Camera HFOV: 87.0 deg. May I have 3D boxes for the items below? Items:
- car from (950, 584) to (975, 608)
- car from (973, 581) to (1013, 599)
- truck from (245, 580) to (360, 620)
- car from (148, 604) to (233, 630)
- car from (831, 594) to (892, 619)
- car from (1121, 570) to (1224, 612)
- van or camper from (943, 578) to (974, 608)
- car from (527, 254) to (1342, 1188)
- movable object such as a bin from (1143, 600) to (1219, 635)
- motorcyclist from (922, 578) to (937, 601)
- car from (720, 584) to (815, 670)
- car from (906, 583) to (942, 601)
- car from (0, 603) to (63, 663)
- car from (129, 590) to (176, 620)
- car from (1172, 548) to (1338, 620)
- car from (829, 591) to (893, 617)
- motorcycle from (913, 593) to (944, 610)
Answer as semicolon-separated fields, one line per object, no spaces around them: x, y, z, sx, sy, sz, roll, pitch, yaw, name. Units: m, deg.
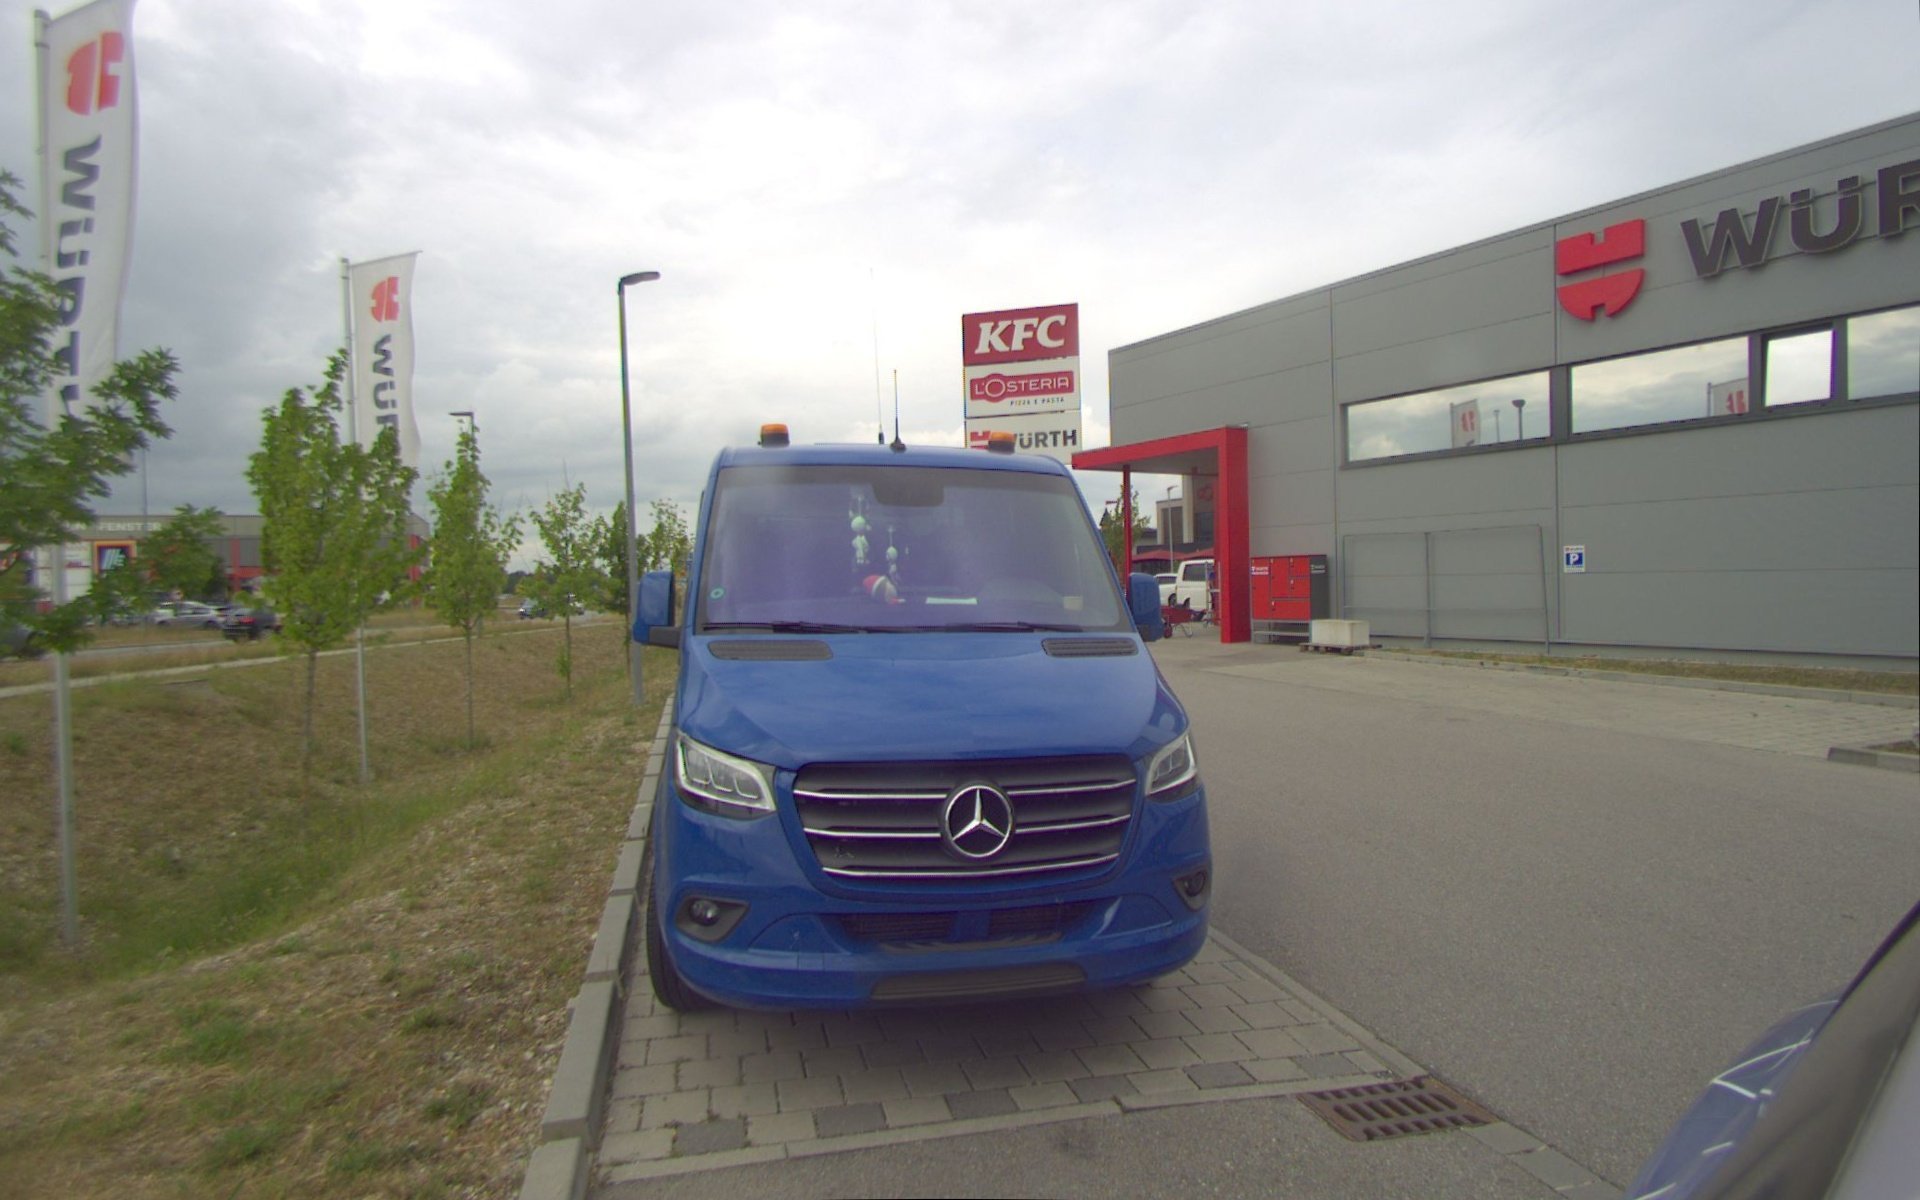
0.118;-0.258;64.702;1.478;1.465;3.127;-1;1;-2;car
3.630;-1.113;112.671;3.917;1.861;2.004;-3;1;-17;car
-53.450;-0.091;82.584;2.641;2.982;8.147;-2;1;15;truck
-50.534;1.081;66.526;3.918;1.460;2.003;-3;1;-9;car
-6.452;0.400;66.615;3.921;1.438;1.812;-2;0;-4;car
9.479;-0.367;45.562;1.724;1.770;4.745;-2;1;-31;car
-0.085;-0.568;76.542;1.827;2.087;5.227;-2;1;6;van or camper
-0.720;0.203;6.604;2.156;2.351;7.872;-2;1;-11;car
5.057;0.395;23.147;1.554;0.725;0.804;-2;0;-33;movable object such as a bin
-1.825;-0.644;60.089;0.661;1.332;0.575;-2;0;-37;motorcyclist
-4.535;0.557;23.416;1.716;1.704;4.307;-3;1;-16;car
-4.398;-0.966;123.340;3.959;2.039;1.983;-2;1;27;car
-25.794;0.922;25.888;1.774;1.527;4.891;-2;1;-7;car
-64.946;0.381;81.449;1.984;2.232;4.356;-2;1;-26;car
9.098;-0.443;31.566;1.902;2.039;4.757;-3;1;-36;car
-6.253;0.234;64.017;3.921;1.438;1.812;-2;0;-4;car
-1.867;0.064;60.044;1.834;0.928;0.556;-3;0;-37;motorcycle
